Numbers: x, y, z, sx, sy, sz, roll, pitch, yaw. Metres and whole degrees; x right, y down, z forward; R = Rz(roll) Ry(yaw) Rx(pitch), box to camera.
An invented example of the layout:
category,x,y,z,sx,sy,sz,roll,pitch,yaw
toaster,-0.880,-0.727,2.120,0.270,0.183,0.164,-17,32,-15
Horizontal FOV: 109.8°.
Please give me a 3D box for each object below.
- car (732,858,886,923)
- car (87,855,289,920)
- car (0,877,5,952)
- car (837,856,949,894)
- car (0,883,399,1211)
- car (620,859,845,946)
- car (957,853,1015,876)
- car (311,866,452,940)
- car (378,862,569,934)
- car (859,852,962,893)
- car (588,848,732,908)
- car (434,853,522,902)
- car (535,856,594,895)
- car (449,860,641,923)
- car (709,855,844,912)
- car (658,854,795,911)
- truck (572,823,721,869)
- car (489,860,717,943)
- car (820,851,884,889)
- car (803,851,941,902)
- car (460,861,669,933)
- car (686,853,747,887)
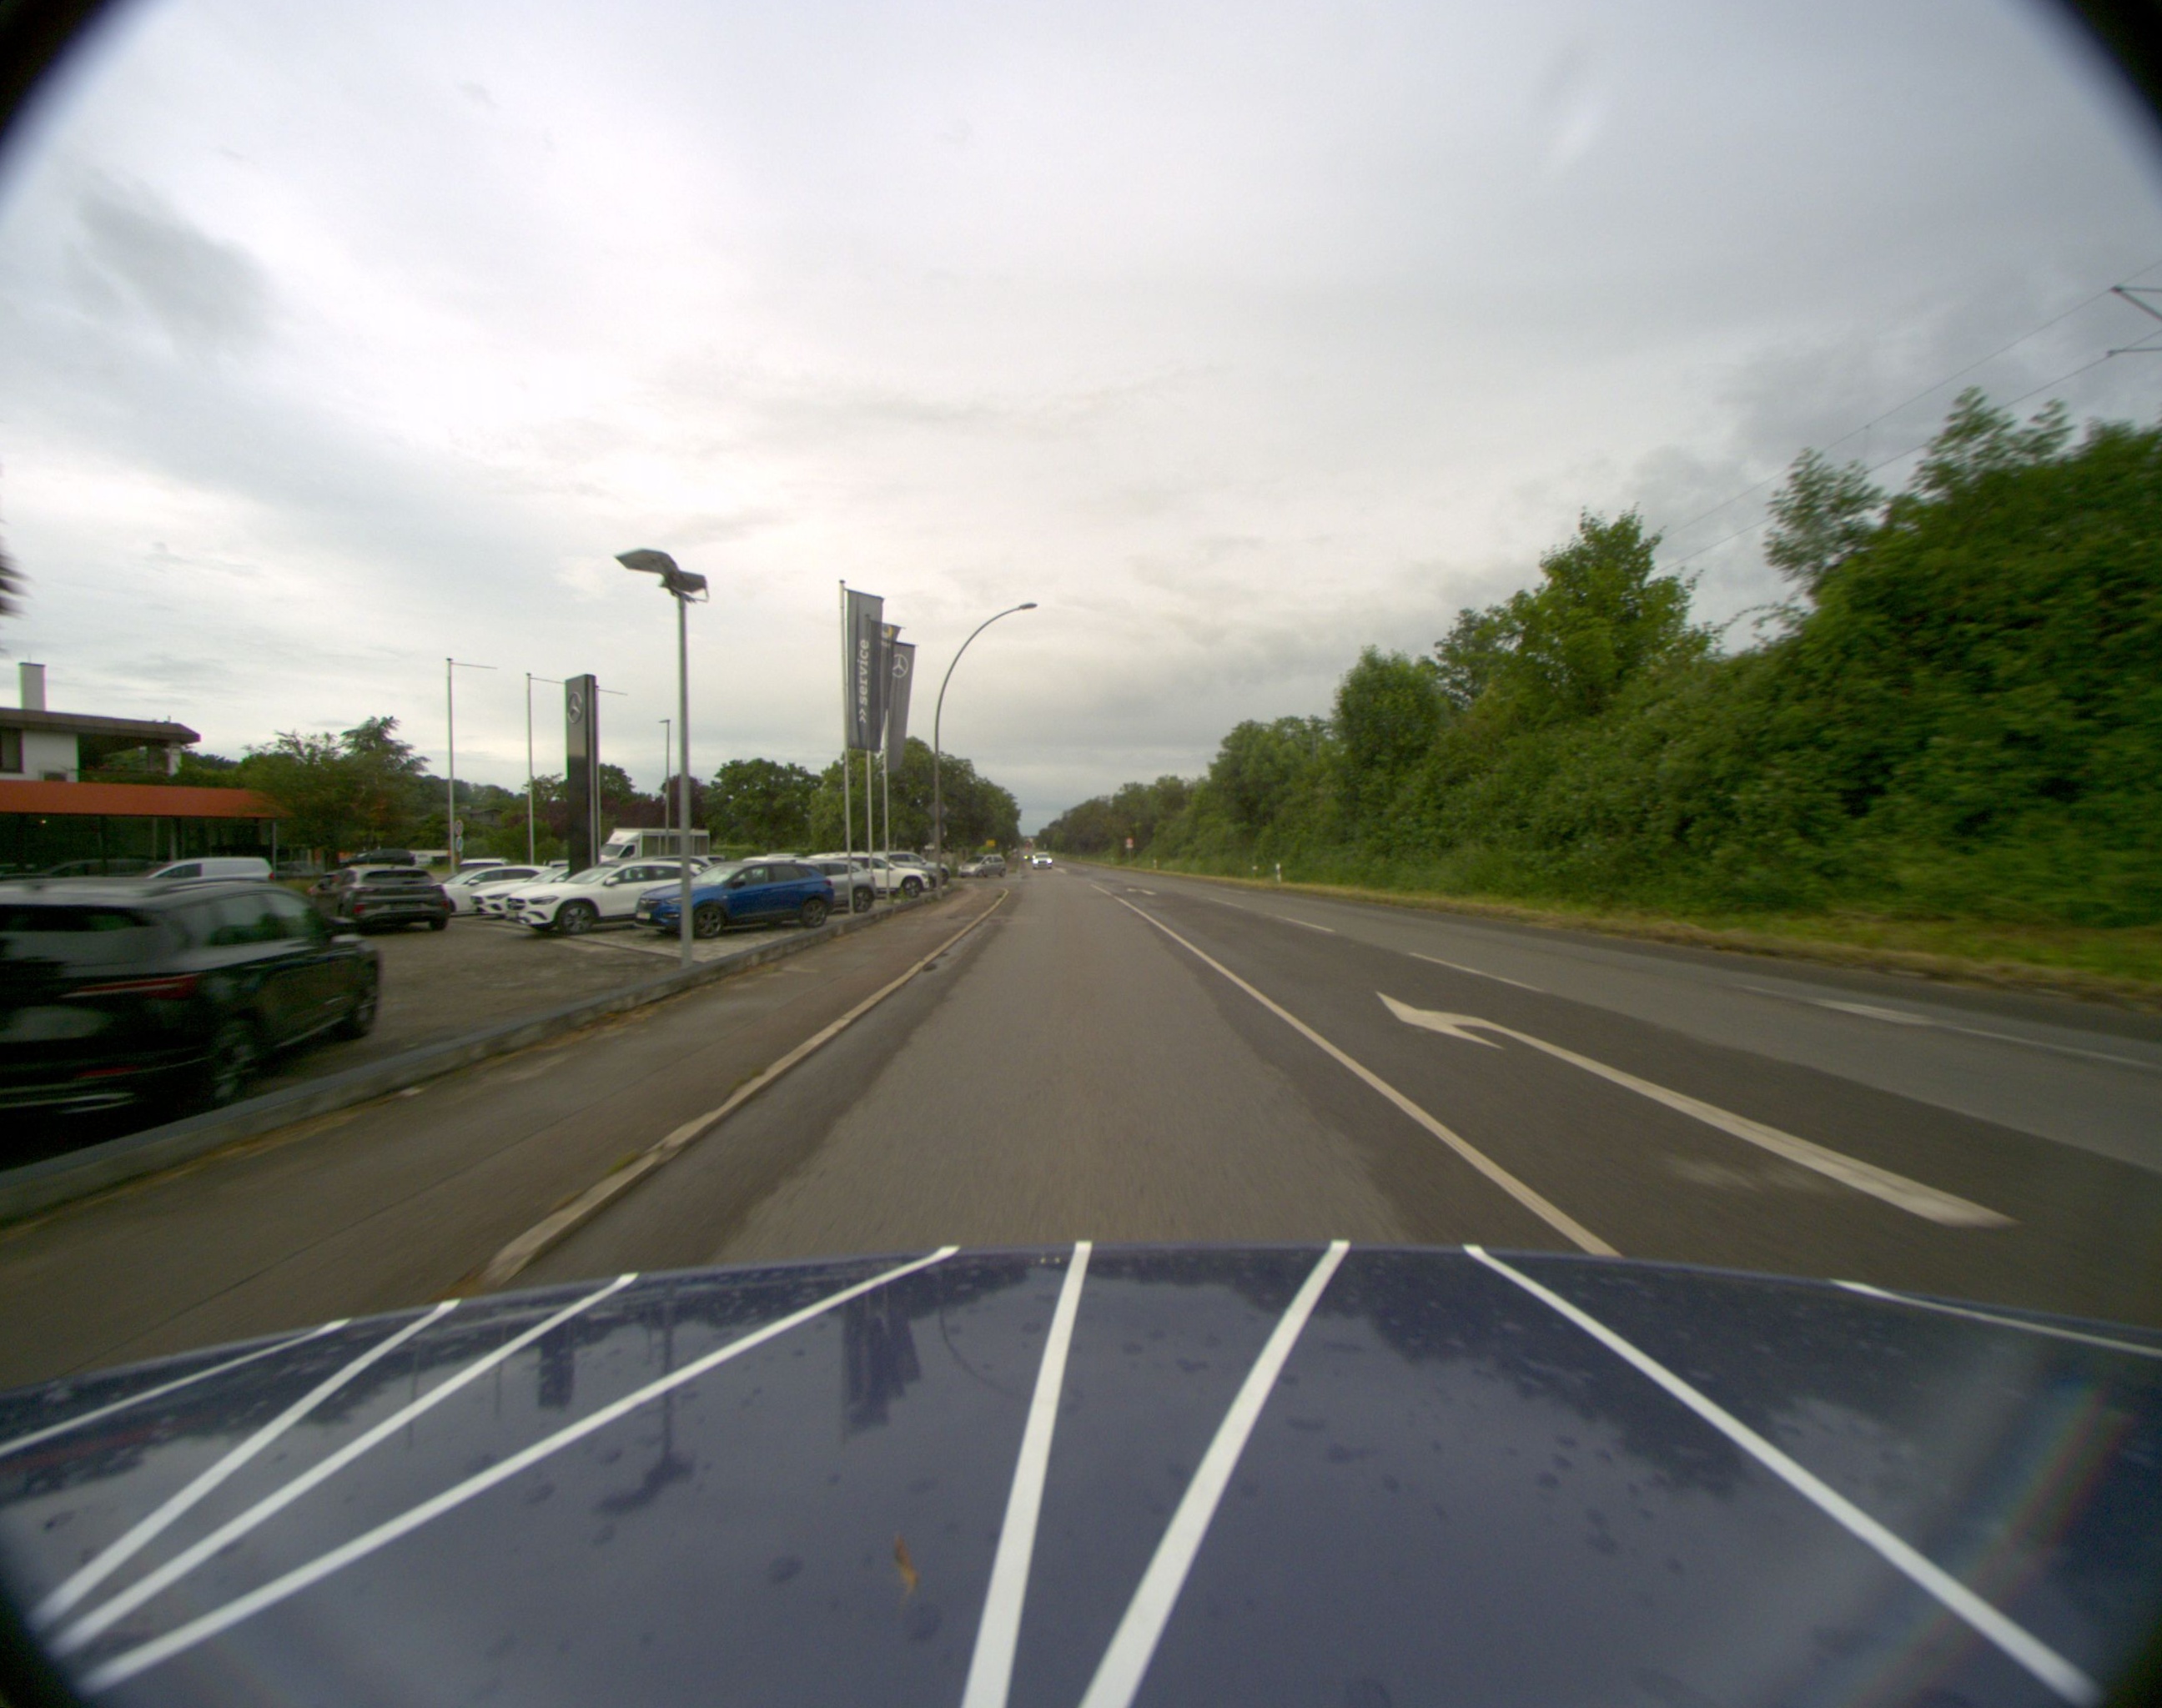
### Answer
category,x,y,z,sx,sy,sz,roll,pitch,yaw
car,-7.674,0.954,21.757,1.727,1.590,3.822,1,1,36
car,-33.342,1.176,28.576,1.829,2.002,4.456,-3,2,23
car,-22.876,1.166,14.626,4.399,1.433,2.004,-1,0,29
car,-7.783,0.808,31.551,4.148,1.386,1.847,-2,1,-32
car,-7.090,1.093,5.790,1.845,1.598,4.539,0,0,-29
car,-7.860,0.991,17.542,1.838,1.623,4.375,1,2,35
car,-6.765,0.734,54.430,1.994,1.537,4.008,0,0,33
car,-16.449,1.065,17.836,3.552,1.469,1.784,0,1,36
car,-17.994,1.242,22.702,1.767,1.632,3.993,-2,3,34
car,-7.911,0.809,35.635,1.961,1.661,4.373,-1,1,40
car,-14.768,0.811,26.892,1.674,1.711,4.006,-2,3,34
car,-20.875,0.781,26.441,1.775,1.542,3.443,-1,0,-28
car,-20.496,0.834,30.274,1.775,1.452,3.990,-1,0,-32
car,-15.185,1.002,21.743,1.898,1.536,4.008,-1,0,32
car,-9.412,0.850,23.730,1.659,1.590,3.566,1,1,35
car,-12.096,0.905,26.152,1.676,1.447,3.929,6,7,37
truck,-28.033,-0.629,49.602,2.783,2.608,8.484,-3,2,20
car,-11.017,0.994,17.855,1.727,1.590,4.187,1,1,30
car,-11.260,0.715,37.697,1.812,1.663,4.708,-2,1,-1
car,-7.623,0.777,27.889,4.436,1.643,1.922,-2,1,-37
car,-13.196,1.024,19.655,1.898,1.536,4.008,-1,0,33
car,-17.070,0.731,35.789,2.076,1.452,4.758,-1,0,-20
